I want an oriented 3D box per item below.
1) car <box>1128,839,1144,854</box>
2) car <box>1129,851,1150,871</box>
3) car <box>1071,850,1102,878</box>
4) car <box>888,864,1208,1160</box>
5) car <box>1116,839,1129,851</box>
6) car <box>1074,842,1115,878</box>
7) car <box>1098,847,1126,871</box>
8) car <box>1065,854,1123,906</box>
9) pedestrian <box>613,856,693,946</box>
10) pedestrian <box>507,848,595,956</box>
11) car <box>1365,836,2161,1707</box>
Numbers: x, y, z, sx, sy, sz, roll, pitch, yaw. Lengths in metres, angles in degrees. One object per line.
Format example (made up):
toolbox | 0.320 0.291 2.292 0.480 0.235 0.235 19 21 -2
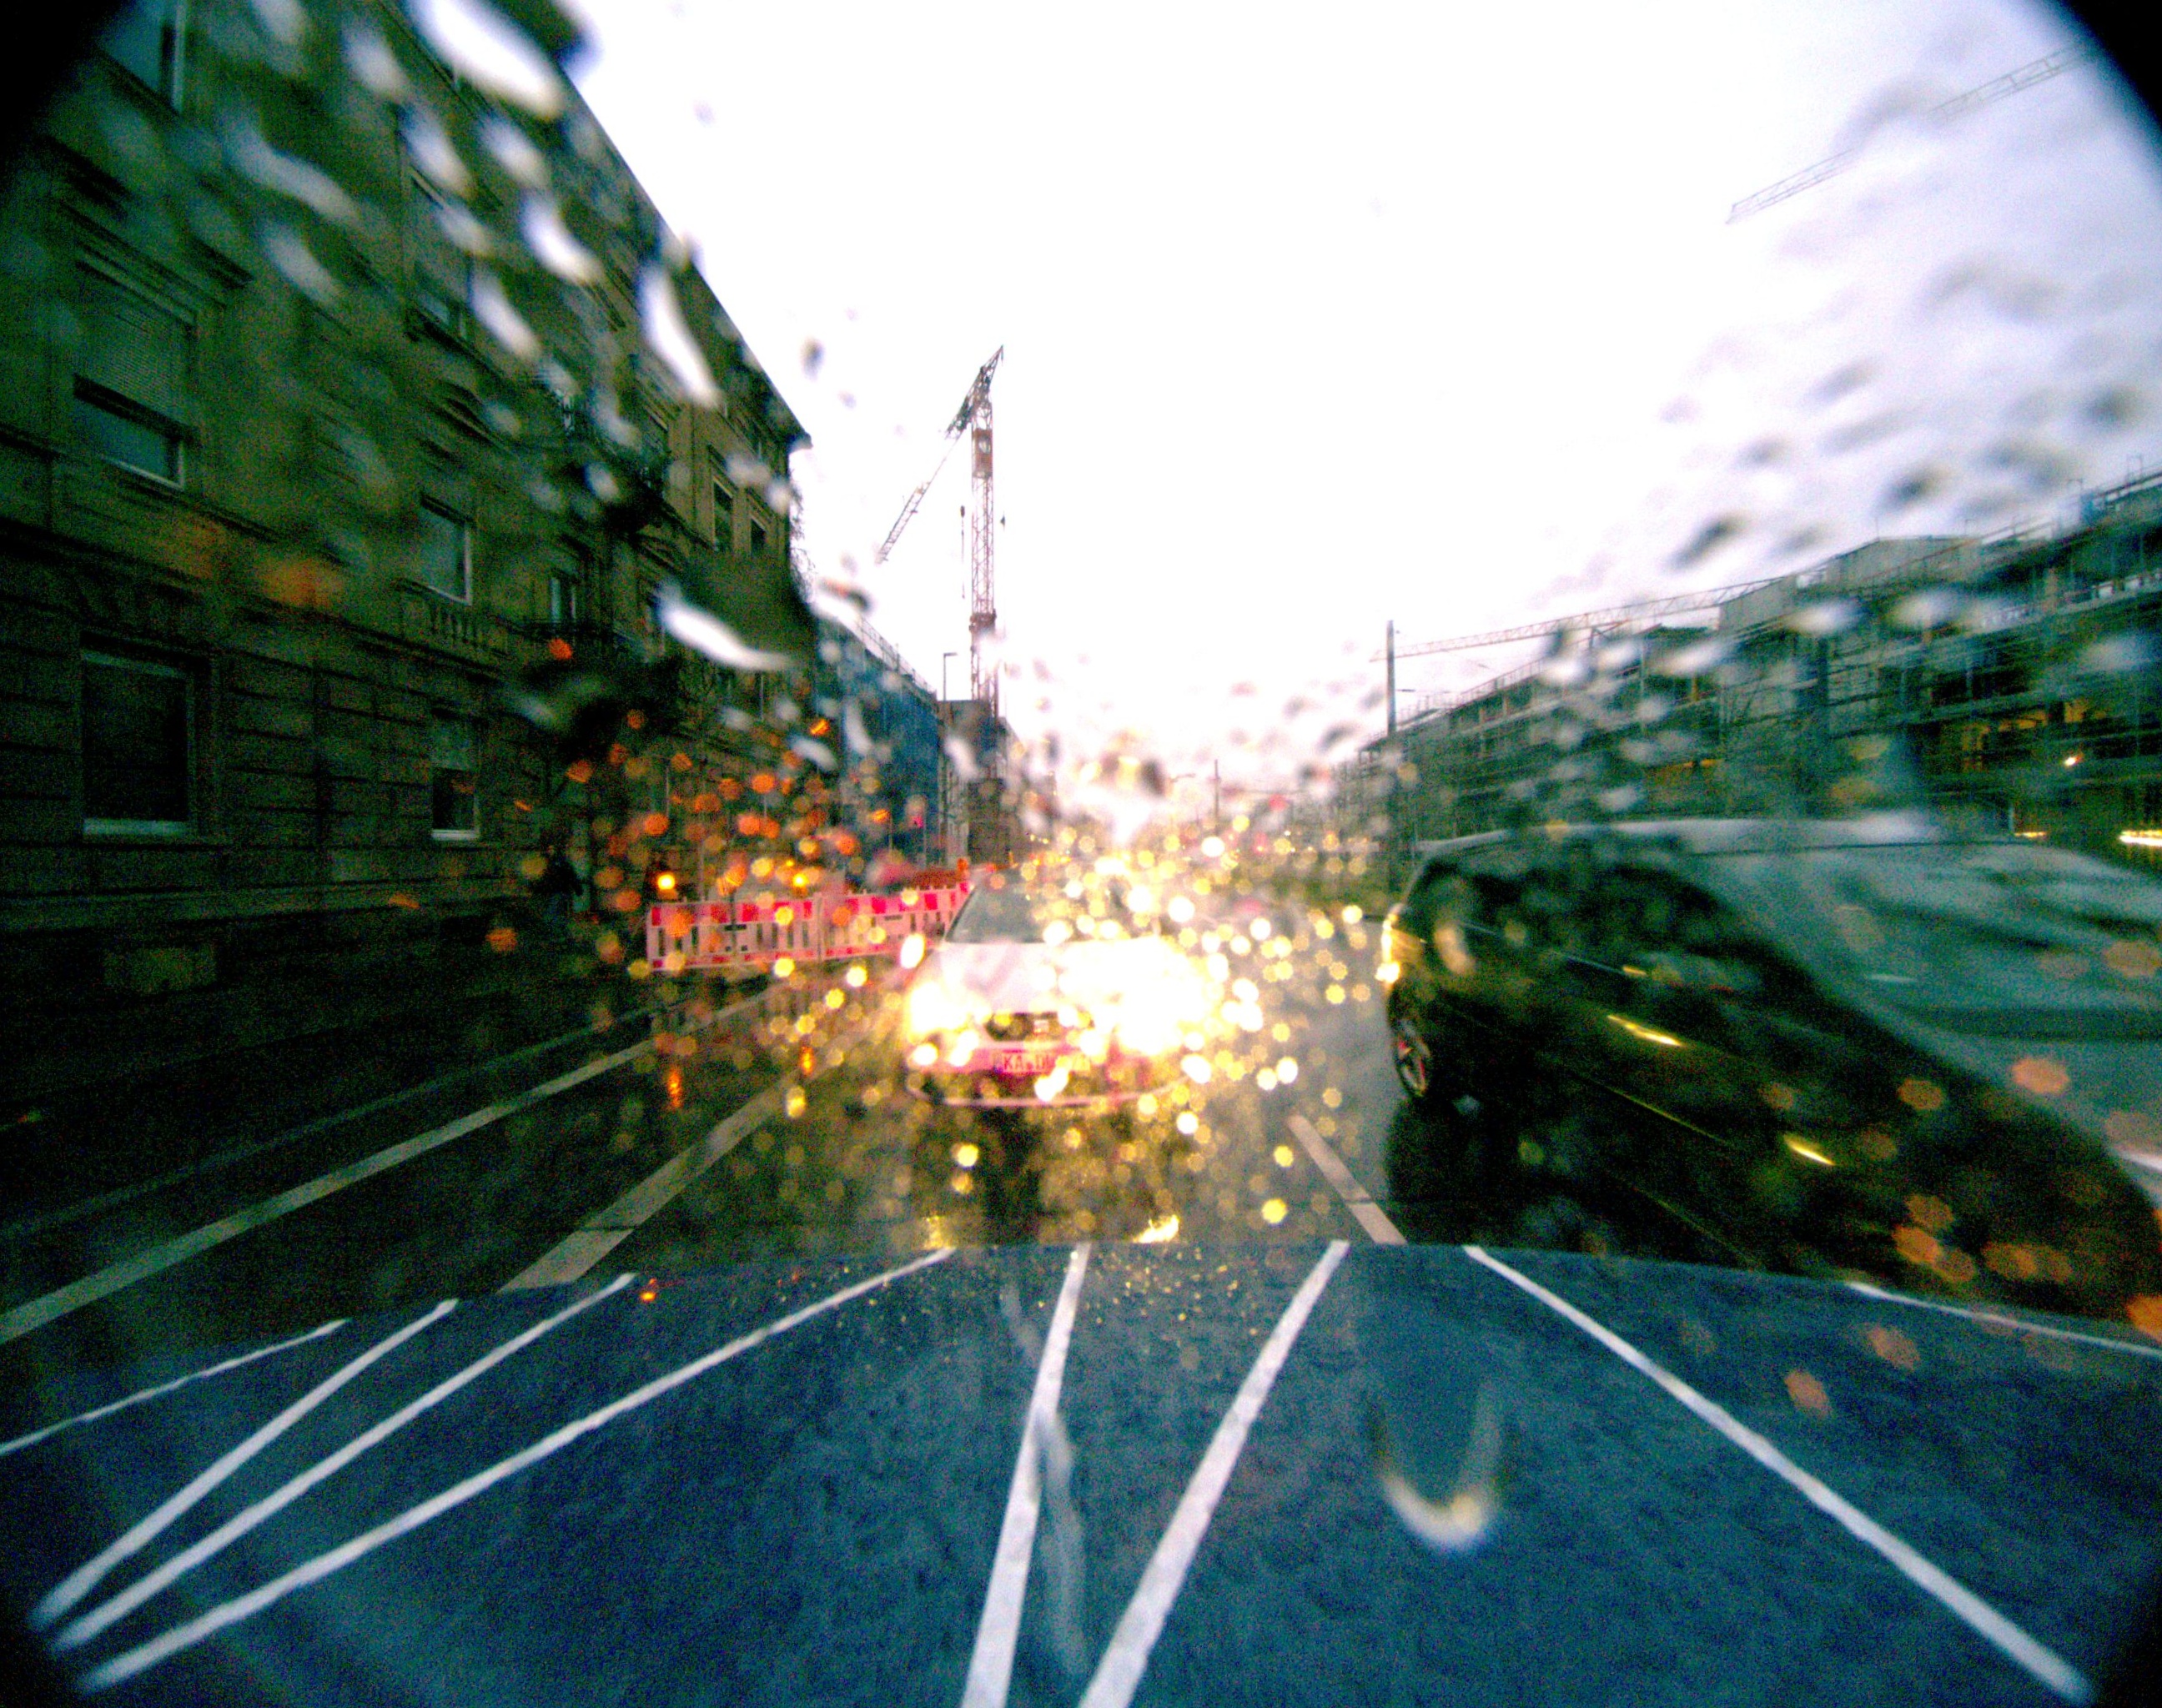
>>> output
car | 6.290 -0.916 87.111 1.768 1.614 3.900 -3 1 4
car | 5.315 0.585 69.405 1.768 1.614 3.900 -3 1 4
car | 0.292 0.579 46.747 1.769 1.504 3.899 -3 1 0
car | -0.194 0.934 6.316 1.769 1.504 3.899 -3 1 0
car | 5.887 -1.292 106.804 1.768 1.614 3.900 -3 1 4
car | 0.595 0.238 36.041 1.769 1.504 3.899 -3 1 0
car | 2.207 0.336 54.714 1.769 1.504 3.899 -3 1 0
car | 0.401 0.844 26.169 1.769 1.504 3.899 -3 1 0
pedestrian | -7.586 0.815 13.518 0.870 1.536 0.929 0 1 1
pedestrian | -8.383 0.738 12.051 0.870 1.663 0.707 0 1 4
car | 2.755 0.781 2.748 1.815 1.636 4.134 -2 0 -1
